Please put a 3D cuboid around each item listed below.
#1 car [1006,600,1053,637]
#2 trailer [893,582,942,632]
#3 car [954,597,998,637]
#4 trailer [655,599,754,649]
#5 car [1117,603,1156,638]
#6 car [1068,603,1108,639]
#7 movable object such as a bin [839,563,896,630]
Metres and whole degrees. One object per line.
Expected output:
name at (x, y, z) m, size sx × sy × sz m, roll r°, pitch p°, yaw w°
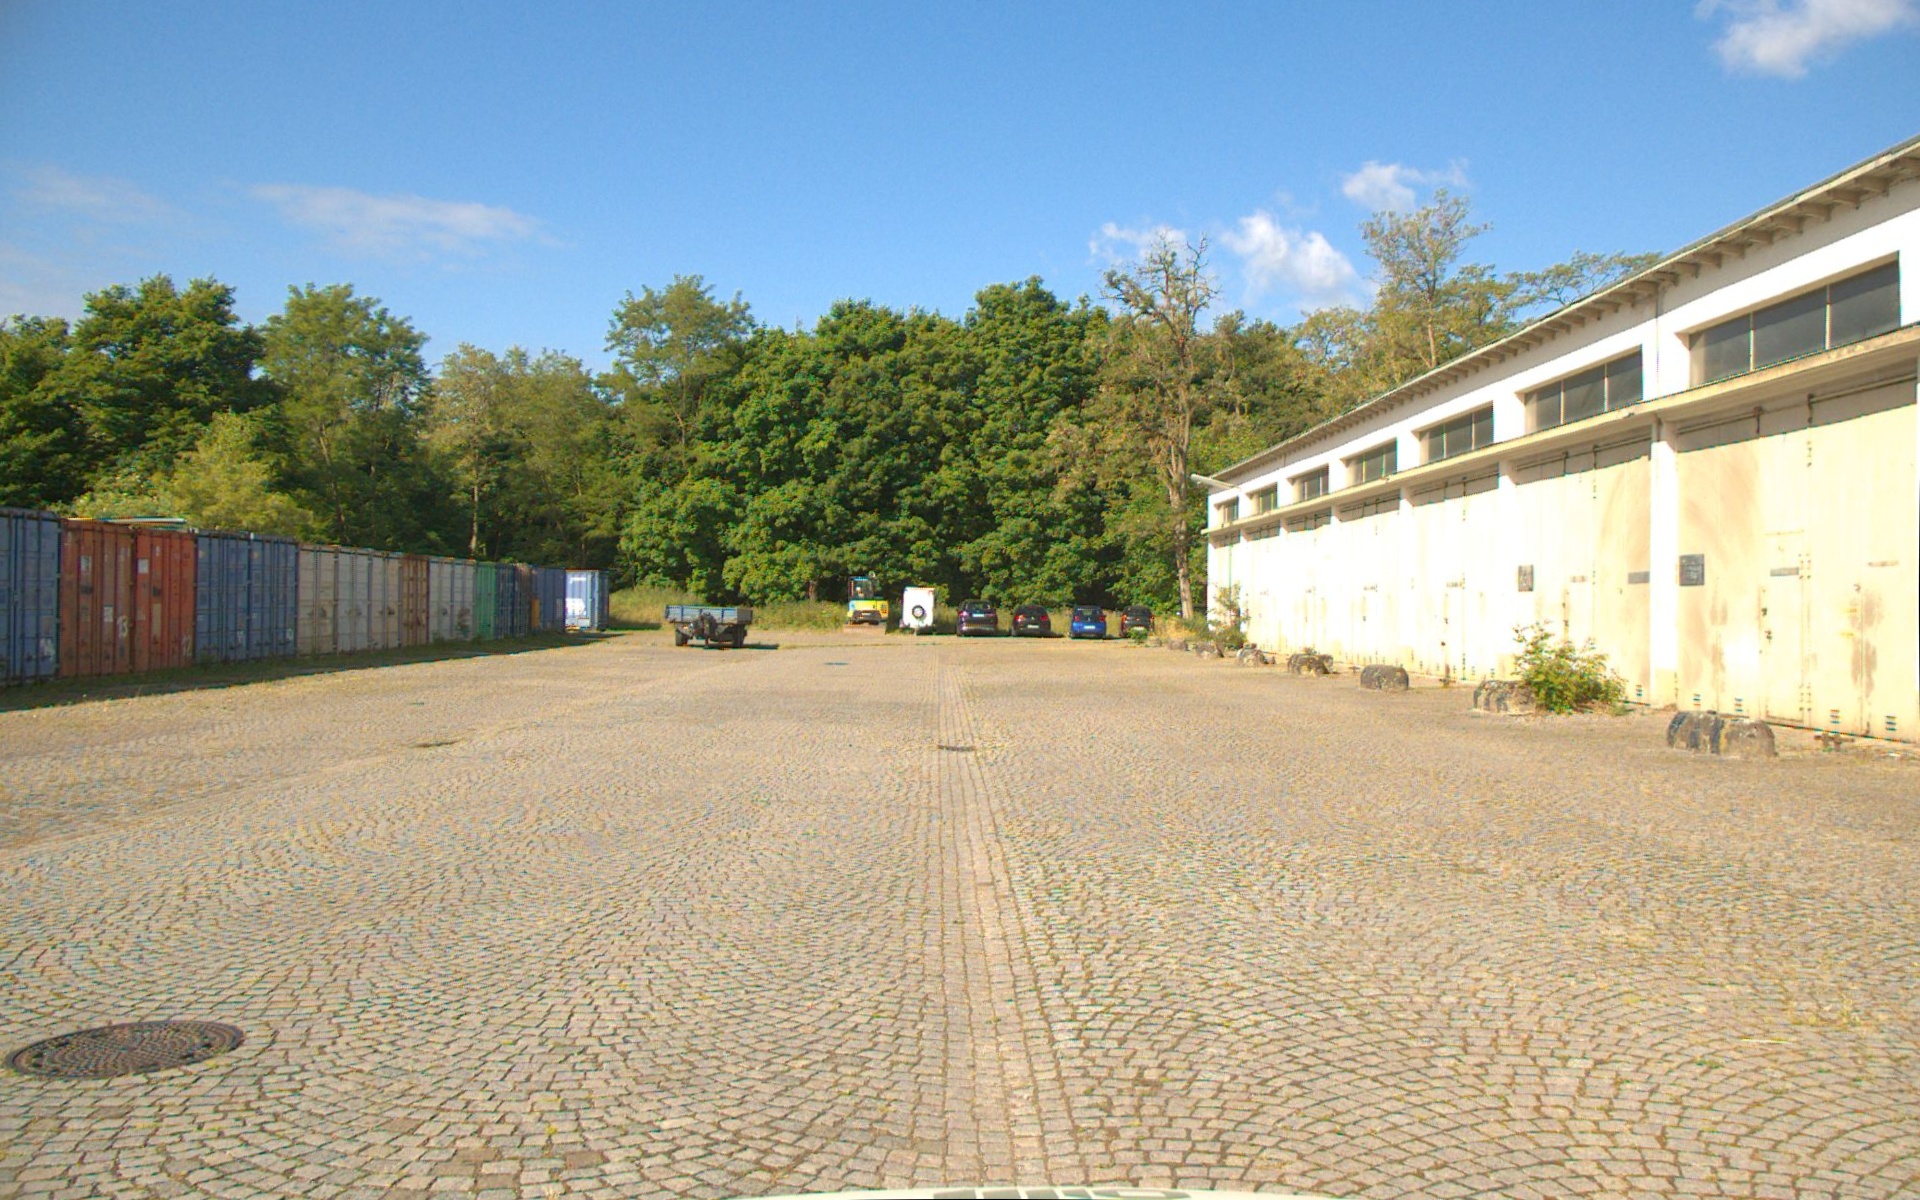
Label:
car at (3.138, 0.831, 75.600) m, size 1.826 × 1.496 × 4.295 m, roll 2°, pitch 1°, yaw -1°
trailer at (-1.974, 0.273, 77.513) m, size 2.148 × 2.131 × 5.750 m, roll 2°, pitch 1°, yaw -1°
car at (0.705, 0.748, 75.186) m, size 1.826 × 1.617 × 4.295 m, roll 2°, pitch 1°, yaw -1°
trailer at (-8.749, 0.778, 57.288) m, size 2.651 × 1.491 × 6.245 m, roll 2°, pitch 1°, yaw -2°
car at (8.231, 0.945, 77.048) m, size 1.707 × 1.461 × 4.186 m, roll 2°, pitch 1°, yaw 6°
car at (5.848, 0.954, 75.593) m, size 1.707 × 1.461 × 4.185 m, roll 2°, pitch 1°, yaw 4°
movable object such as a bin at (-4.308, -0.203, 78.062) m, size 2.259 × 2.947 × 5.751 m, roll 2°, pitch 1°, yaw 0°
